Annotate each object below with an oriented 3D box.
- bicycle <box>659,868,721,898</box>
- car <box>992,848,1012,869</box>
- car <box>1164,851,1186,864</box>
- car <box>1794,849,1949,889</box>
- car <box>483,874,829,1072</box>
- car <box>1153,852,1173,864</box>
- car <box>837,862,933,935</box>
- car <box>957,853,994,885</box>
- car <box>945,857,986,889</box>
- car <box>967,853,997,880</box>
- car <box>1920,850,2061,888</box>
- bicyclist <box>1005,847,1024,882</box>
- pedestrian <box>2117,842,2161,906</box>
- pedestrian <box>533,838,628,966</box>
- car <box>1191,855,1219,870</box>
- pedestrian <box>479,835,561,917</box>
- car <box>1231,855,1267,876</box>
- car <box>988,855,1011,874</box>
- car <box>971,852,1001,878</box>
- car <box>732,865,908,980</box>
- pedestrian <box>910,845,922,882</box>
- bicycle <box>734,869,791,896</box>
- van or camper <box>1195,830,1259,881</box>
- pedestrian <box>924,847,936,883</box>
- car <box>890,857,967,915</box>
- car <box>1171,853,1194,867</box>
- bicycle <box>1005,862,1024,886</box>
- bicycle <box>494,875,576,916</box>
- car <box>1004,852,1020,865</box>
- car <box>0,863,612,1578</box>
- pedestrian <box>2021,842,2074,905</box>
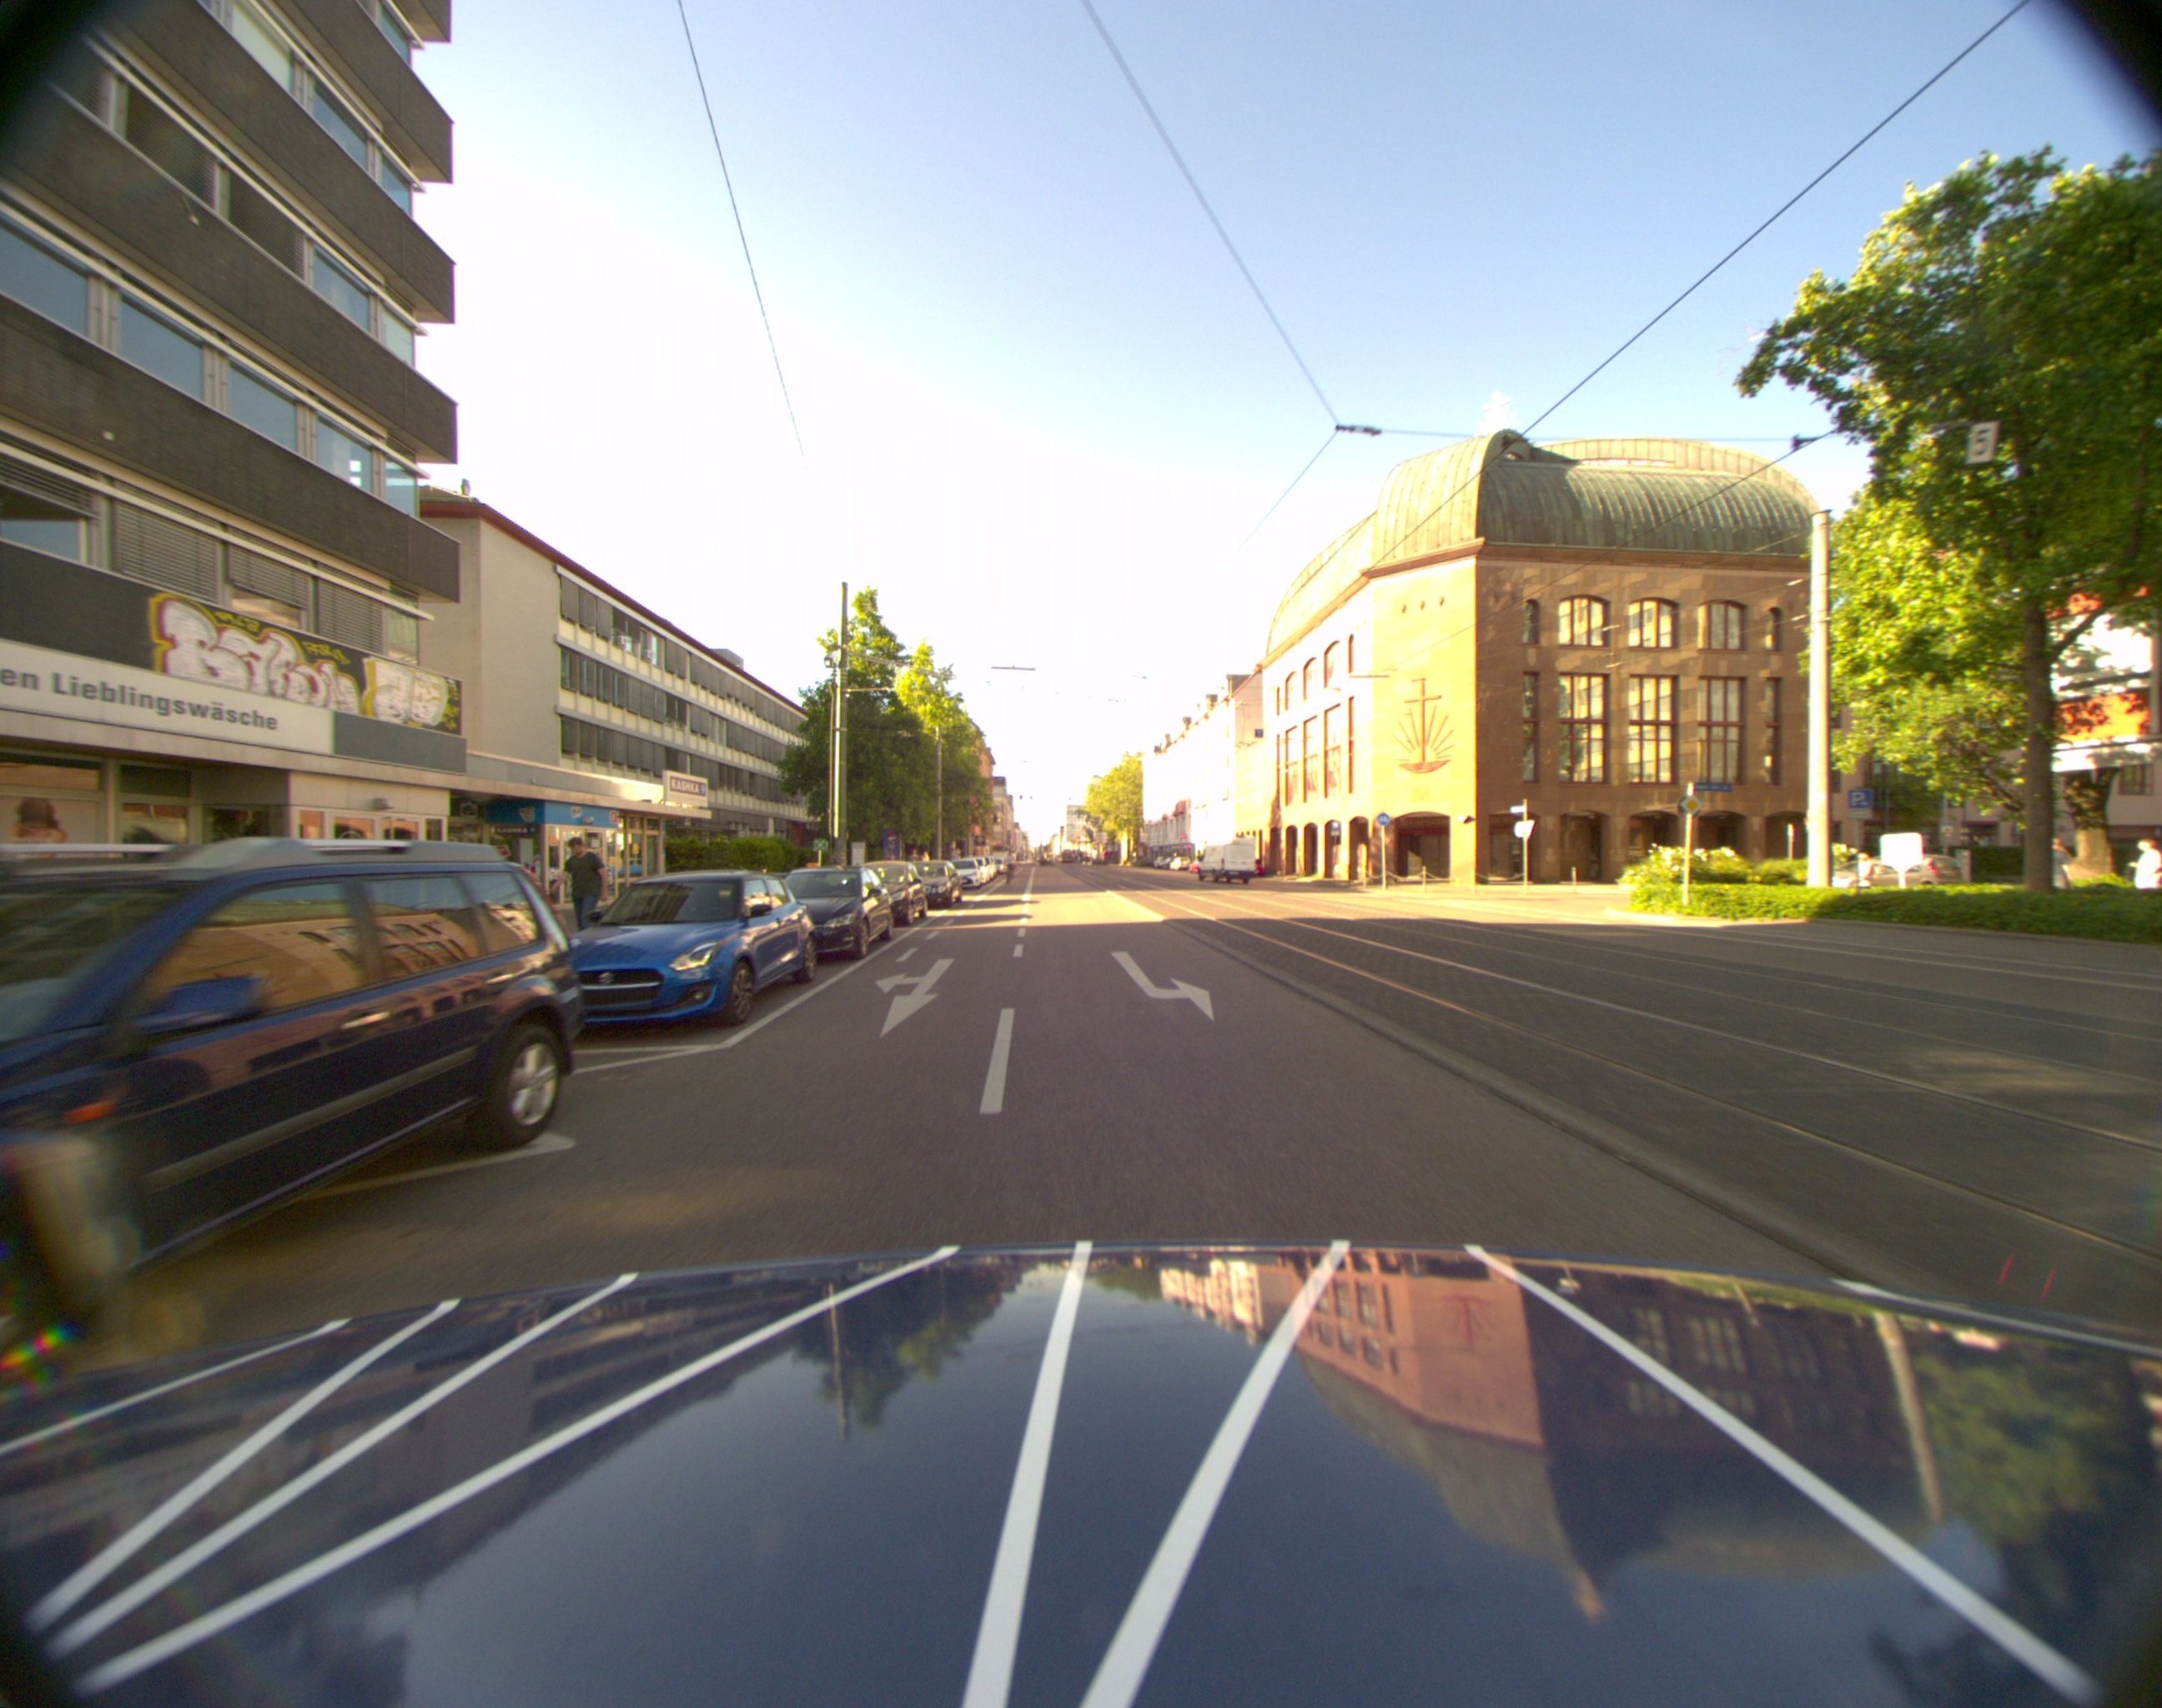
[{"bbox_3d":[-13.647,1.008,26.543,1.807,0.960,0.572,2,2,-3],"label":"bicycle"},{"bbox_3d":[-8.232,0.447,79.481,1.733,2.038,4.113,-2,2,-3],"label":"car"},{"bbox_3d":[10.909,0.406,88.519,1.856,1.445,3.852,-1,0,-3],"label":"car"},{"bbox_3d":[31.592,0.585,30.444,4.273,1.521,1.999,0,0,-3],"label":"car"},{"bbox_3d":[-4.148,1.038,8.203,1.718,1.446,3.776,-2,1,-3],"label":"car"},{"bbox_3d":[10.343,0.513,95.888,1.856,1.445,3.852,-1,0,-3],"label":"car"},{"bbox_3d":[-4.682,1.009,18.602,1.575,1.474,3.556,-2,1,-3],"label":"car"},{"bbox_3d":[-5.956,0.811,43.227,1.733,1.568,4.113,-2,1,-3],"label":"car"},{"bbox_3d":[-5.705,0.908,37.931,1.734,1.474,3.862,-2,0,-5],"label":"car"},{"bbox_3d":[-6.304,0.772,48.859,1.734,1.586,4.113,-2,1,-6],"label":"car"},{"bbox_3d":[38.197,0.609,31.951,4.276,1.521,1.998,0,0,-11],"label":"car"},{"bbox_3d":[-3.509,0.539,39.997,0.895,1.755,1.029,-2,2,-3],"label":"bicyclist"},{"bbox_3d":[26.482,0.490,18.947,0.446,1.583,0.723,1,1,22],"label":"pedestrian"},{"bbox_3d":[-7.854,0.717,11.975,0.686,1.901,1.062,-2,2,0],"label":"pedestrian"},{"bbox_3d":[11.745,0.836,72.342,1.856,1.346,3.852,-1,0,-3],"label":"car"},{"bbox_3d":[-11.966,0.456,16.249,1.013,1.639,0.916,4,2,-2],"label":"pedestrian"},{"bbox_3d":[12.719,0.847,57.788,1.754,1.445,3.470,-1,0,-4],"label":"car"},{"bbox_3d":[-7.022,0.873,65.800,1.733,1.475,4.113,-2,2,-3],"label":"car"},{"bbox_3d":[-6.676,0.741,53.704,1.733,1.542,4.113,-2,2,-3],"label":"car"},{"bbox_3d":[-4.204,1.005,12.968,1.703,1.474,4.224,-2,1,-3],"label":"car"},{"bbox_3d":[-9.265,0.525,42.740,0.508,2.002,0.574,-2,2,-3],"label":"pedestrian"},{"bbox_3d":[-11.423,1.027,27.253,1.814,0.917,0.406,2,2,-6],"label":"bicycle"},{"bbox_3d":[8.484,0.077,44.967,2.042,2.723,7.018,1,0,-3],"label":"van or camper"},{"bbox_3d":[-8.518,0.598,42.767,0.508,2.002,0.574,-2,2,-3],"label":"pedestrian"},{"bbox_3d":[-4.818,0.942,24.644,1.733,1.475,4.925,-2,2,-3],"label":"car"},{"bbox_3d":[11.147,0.680,83.694,1.856,1.445,3.852,-1,0,-3],"label":"car"},{"bbox_3d":[-3.505,1.048,40.049,0.889,1.155,2.077,-2,2,-3],"label":"bicycle"},{"bbox_3d":[-12.542,0.947,17.463,1.575,0.916,0.339,0,2,-4],"label":"bicycle"},{"bbox_3d":[-8.633,0.538,95.476,1.733,1.475,4.113,-2,2,-3],"label":"car"},{"bbox_3d":[-3.732,0.959,2.856,1.696,1.703,4.611,-2,1,-10],"label":"car"},{"bbox_3d":[25.043,0.499,19.700,0.447,1.583,0.722,0,1,6],"label":"pedestrian"}]
